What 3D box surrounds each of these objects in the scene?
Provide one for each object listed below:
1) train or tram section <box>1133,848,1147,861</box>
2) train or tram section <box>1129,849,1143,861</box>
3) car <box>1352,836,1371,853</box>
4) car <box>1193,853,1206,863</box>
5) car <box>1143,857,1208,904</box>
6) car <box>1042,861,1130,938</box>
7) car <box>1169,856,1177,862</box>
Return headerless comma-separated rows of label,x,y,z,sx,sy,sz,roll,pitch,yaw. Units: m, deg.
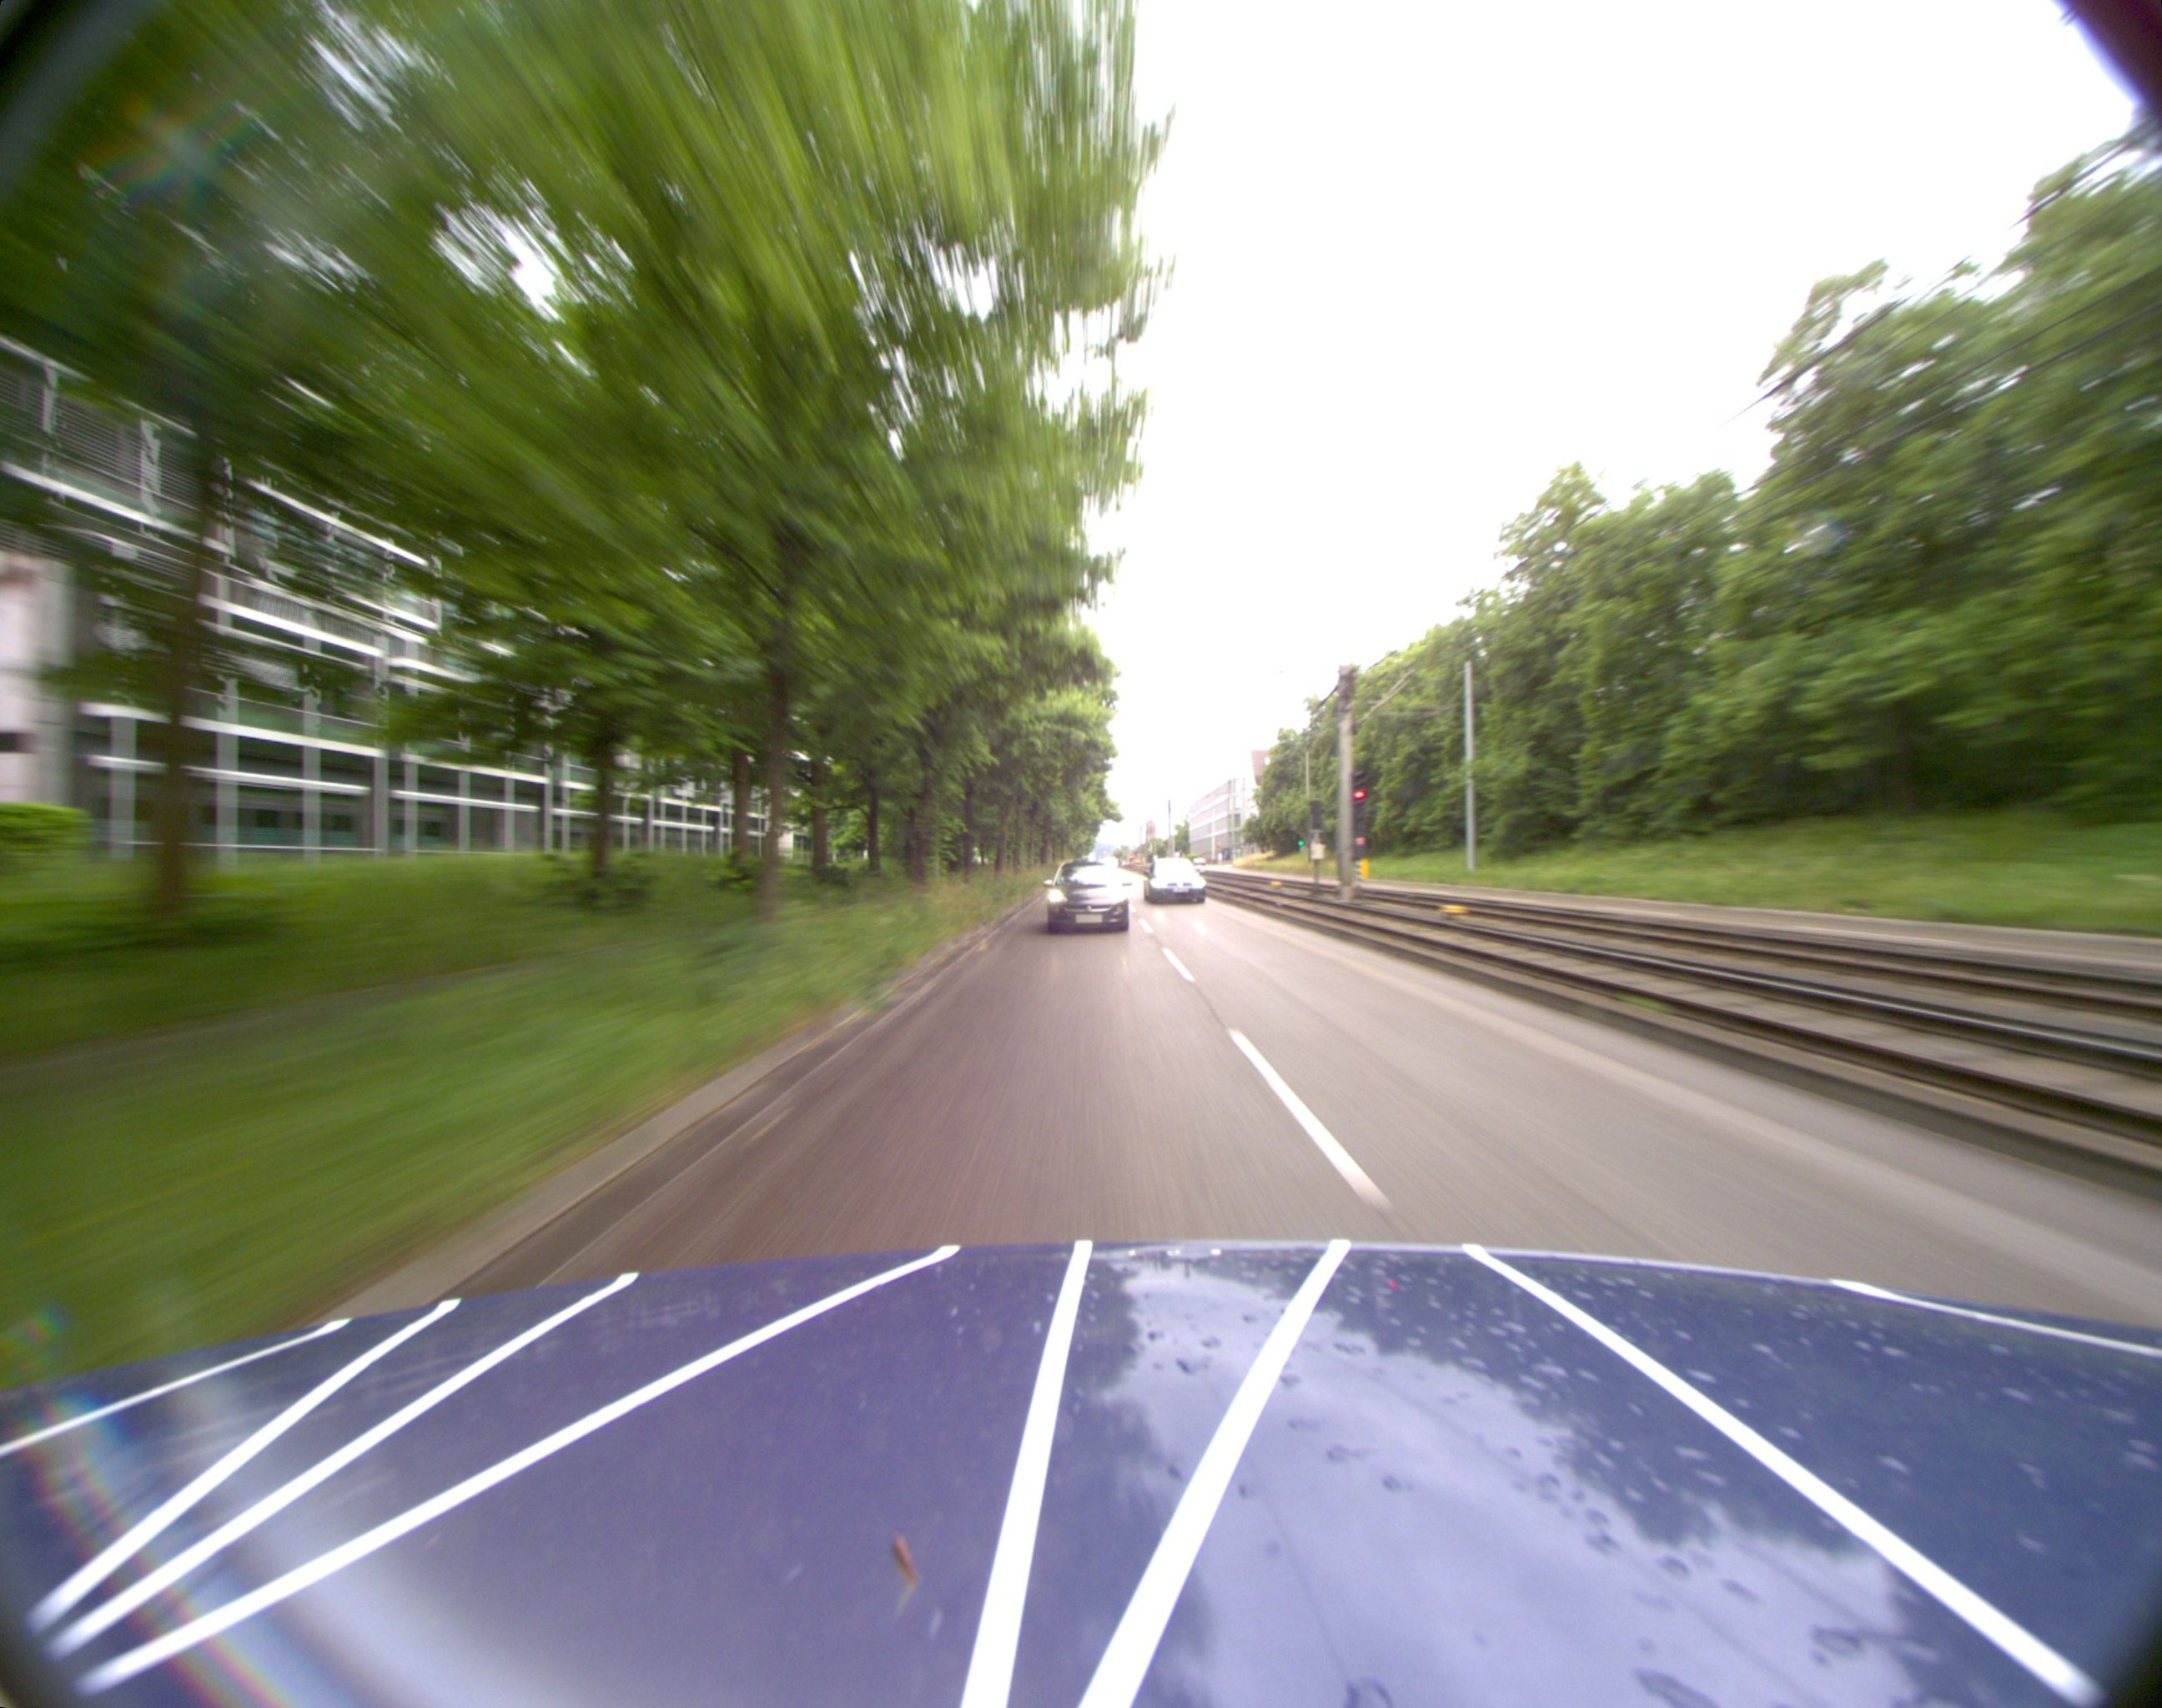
train or tram section,17.308,0.185,223.174,2.975,3.788,19.523,-1,-1,1
train or tram section,17.551,0.422,242.449,2.975,3.788,19.098,-1,-1,0
car,33.927,-1.086,91.986,1.963,2.002,4.222,-1,0,17
car,18.993,0.634,121.504,1.479,1.427,3.909,1,0,1
car,3.131,0.836,25.722,1.770,1.439,3.833,-1,0,1
car,0.176,0.930,17.416,1.698,1.439,4.421,-2,0,2
car,22.714,1.154,187.434,1.657,1.520,4.381,-1,0,2
